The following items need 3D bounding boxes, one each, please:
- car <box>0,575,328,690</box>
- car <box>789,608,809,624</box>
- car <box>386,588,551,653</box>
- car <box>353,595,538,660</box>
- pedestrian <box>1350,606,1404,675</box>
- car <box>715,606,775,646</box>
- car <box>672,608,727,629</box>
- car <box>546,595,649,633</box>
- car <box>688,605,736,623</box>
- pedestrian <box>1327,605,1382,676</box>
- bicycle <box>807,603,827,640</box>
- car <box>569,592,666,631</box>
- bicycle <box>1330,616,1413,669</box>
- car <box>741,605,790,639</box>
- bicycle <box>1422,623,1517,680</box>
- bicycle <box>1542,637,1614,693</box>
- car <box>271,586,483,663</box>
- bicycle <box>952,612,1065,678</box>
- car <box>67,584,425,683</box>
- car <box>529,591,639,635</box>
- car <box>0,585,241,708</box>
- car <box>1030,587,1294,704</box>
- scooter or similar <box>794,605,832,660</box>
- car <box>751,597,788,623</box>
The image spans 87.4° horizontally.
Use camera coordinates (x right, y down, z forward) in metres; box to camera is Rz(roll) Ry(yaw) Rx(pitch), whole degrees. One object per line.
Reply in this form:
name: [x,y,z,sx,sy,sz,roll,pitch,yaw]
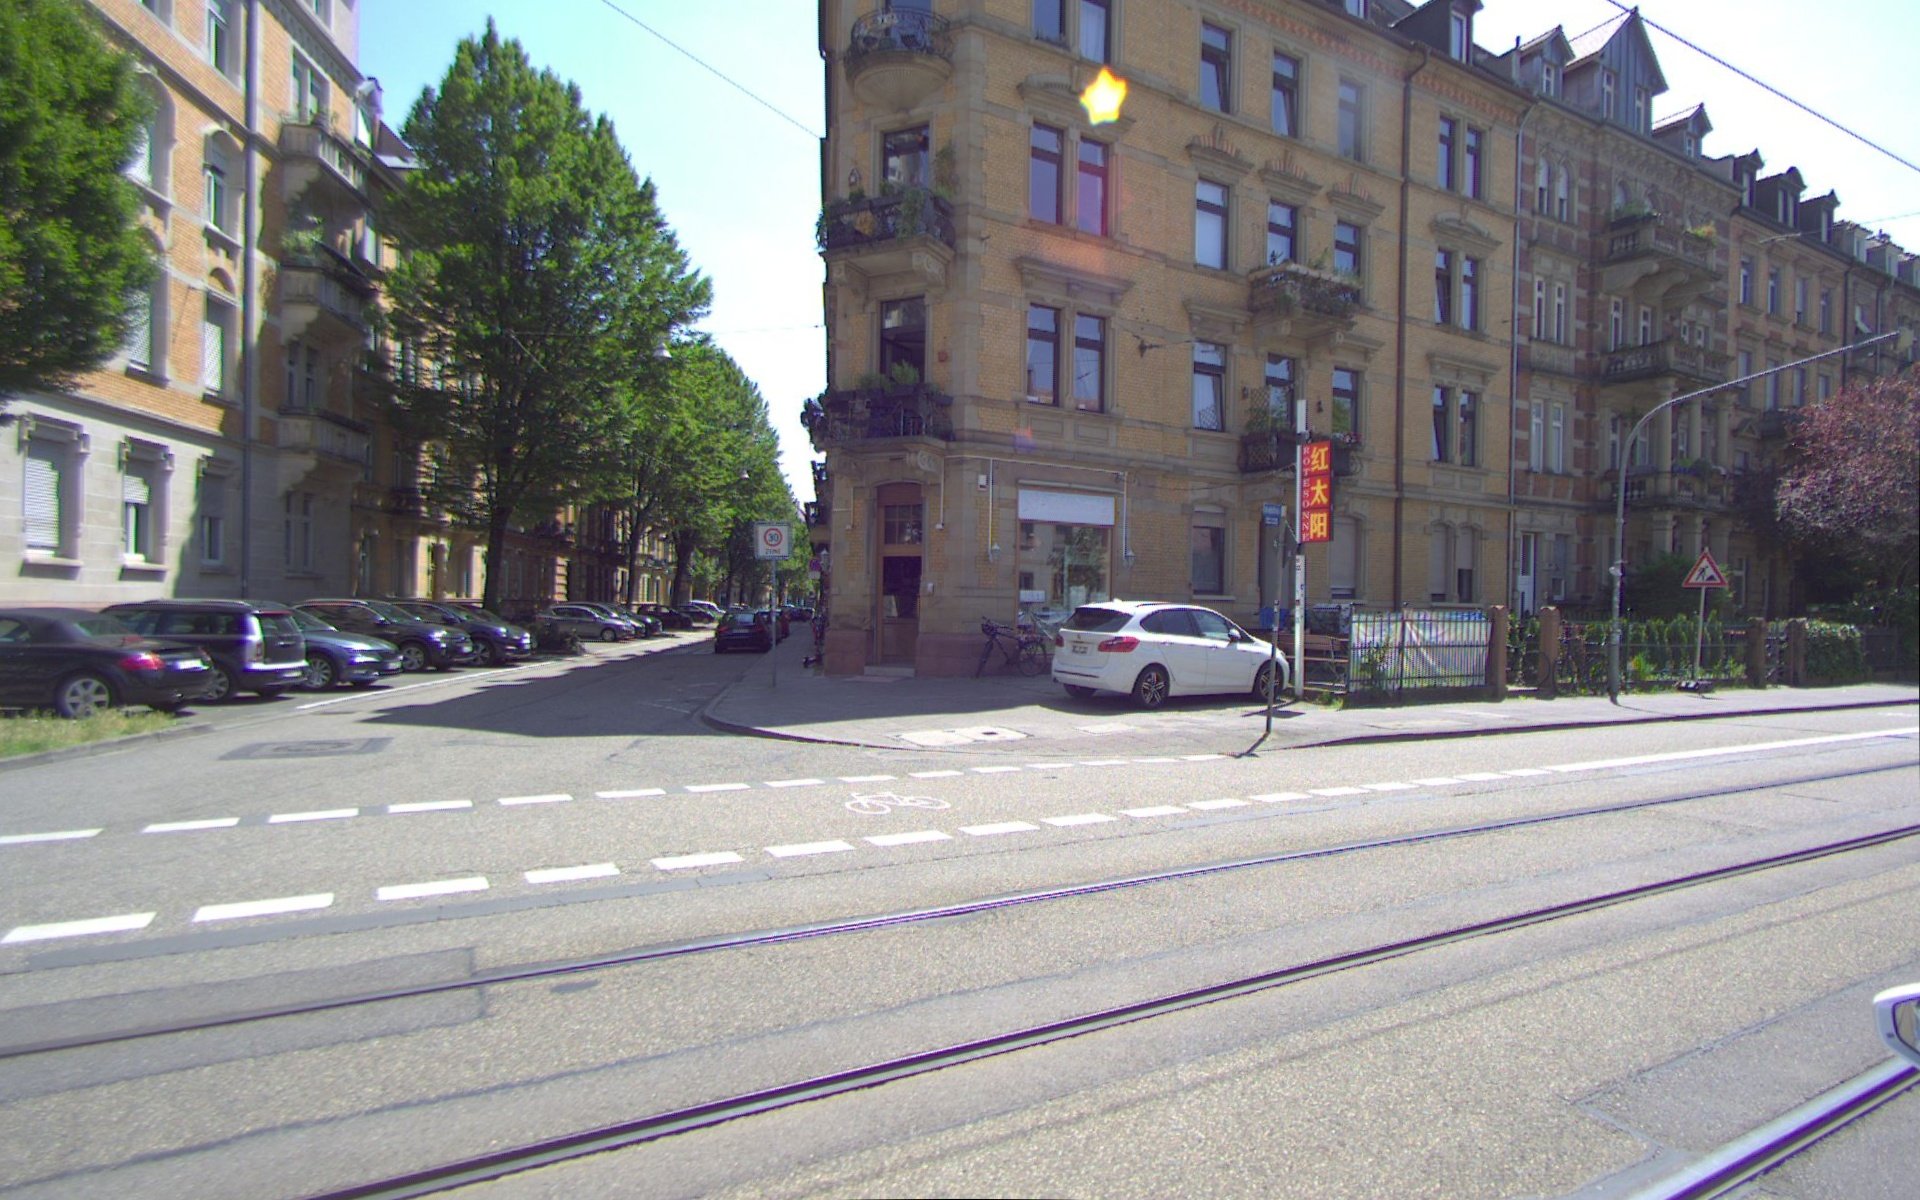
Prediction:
car: [-12.020,0.480,15.221,3.704,1.458,1.628,3,-1,-10]
car: [-14.645,1.443,91.487,1.734,1.382,3.994,1,-1,-9]
car: [-13.562,0.570,27.899,3.704,1.561,1.628,3,-1,-10]
car: [-12.757,0.677,25.109,3.704,1.356,1.628,3,-1,-10]
pedestrian: [8.157,0.788,19.639,0.704,1.315,0.705,1,-1,-34]
car: [-7.307,0.861,34.444,1.734,1.282,3.994,1,-1,-9]
car: [-20.310,1.471,78.493,3.927,1.578,1.997,1,-1,-9]
car: [-15.980,0.606,44.477,3.927,1.578,1.997,1,0,-9]
car: [-21.892,1.222,88.896,3.927,1.578,1.997,1,-1,-9]
pedestrian: [7.544,0.764,19.209,0.704,1.315,0.705,1,-1,-34]
bicycle: [-4.987,0.744,35.081,0.628,1.244,2.064,1,0,-7]
car: [-16.053,0.554,47.243,3.927,1.578,1.997,3,-1,-9]
bicycle: [8.547,0.874,20.928,0.467,1.017,1.699,1,0,-26]
car: [-7.755,0.864,40.279,1.734,1.282,3.994,1,-1,-9]
bicycle: [10.161,1.010,20.103,0.467,1.017,1.775,1,0,-25]
bicycle: [11.854,1.226,19.256,1.787,1.017,0.451,1,0,-34]
car: [-12.994,0.553,22.605,3.704,1.461,1.628,3,-1,-10]
bicycle: [0.948,0.860,19.405,2.116,1.203,0.636,1,0,-27]
car: [-12.256,0.579,17.560,4.739,1.383,1.743,3,-1,-10]
car: [-15.811,0.562,42.382,3.927,1.578,1.997,3,-1,-9]
car: [-11.587,0.531,12.654,3.704,1.356,1.628,3,-1,-10]
car: [3.304,0.684,16.181,4.061,1.621,1.853,1,1,-35]
scooter or similar: [-3.528,0.777,24.167,0.486,1.290,1.283,0,-1,12]
car: [-9.893,0.531,52.417,1.734,1.282,3.994,1,-1,-9]
